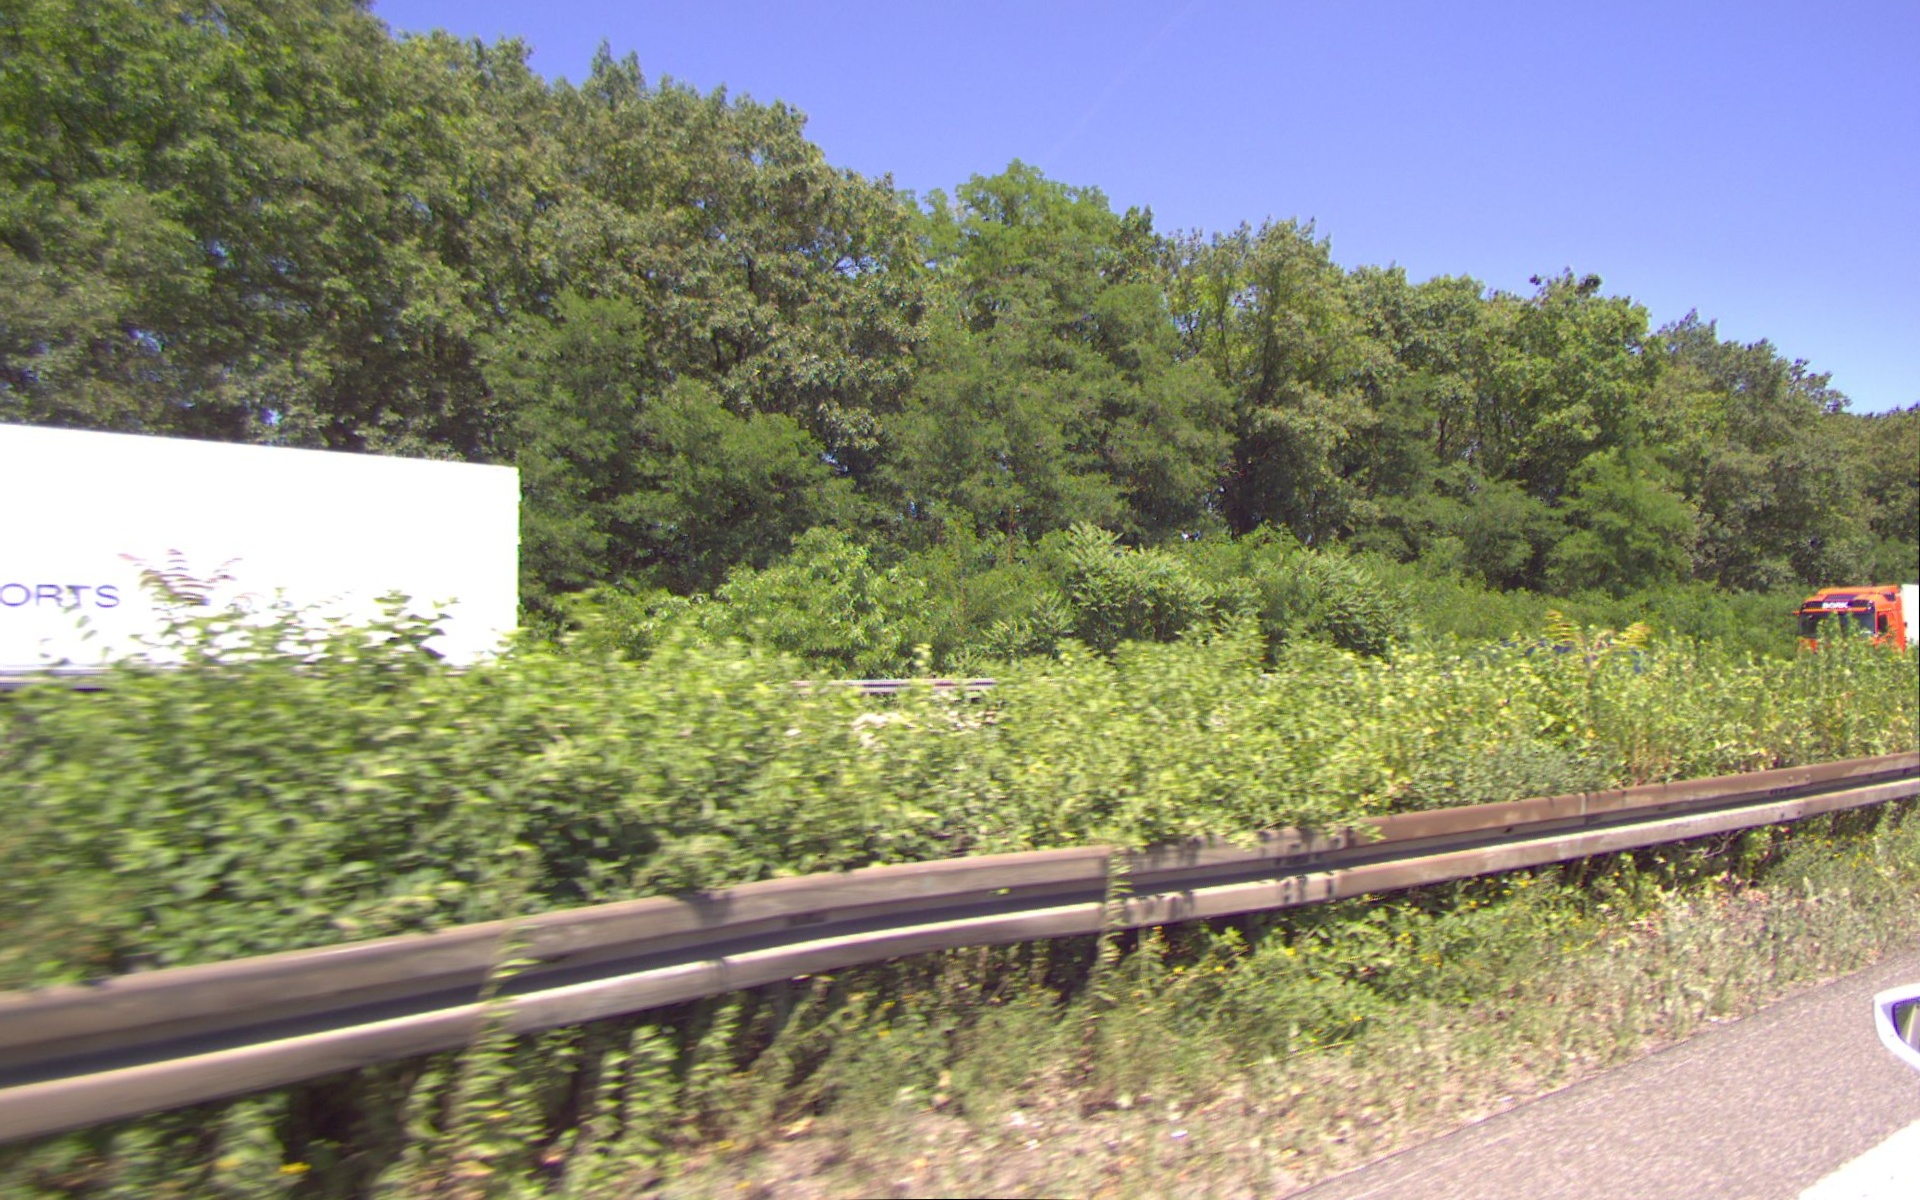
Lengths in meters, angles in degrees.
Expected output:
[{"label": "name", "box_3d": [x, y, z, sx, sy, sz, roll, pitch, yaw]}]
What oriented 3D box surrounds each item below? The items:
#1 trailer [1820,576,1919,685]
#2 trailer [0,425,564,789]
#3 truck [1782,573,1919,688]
[{"label": "trailer", "box_3d": [40.557, 1.299, 42.151, 12.766, 4.103, 2.906, 1, -1, -31]}, {"label": "trailer", "box_3d": [-11.859, 0.120, 12.311, 12.762, 4.087, 2.821, 2, -3, -30]}, {"label": "truck", "box_3d": [33.880, 1.135, 38.120, 4.245, 4.103, 2.906, 1, -1, -31]}]
